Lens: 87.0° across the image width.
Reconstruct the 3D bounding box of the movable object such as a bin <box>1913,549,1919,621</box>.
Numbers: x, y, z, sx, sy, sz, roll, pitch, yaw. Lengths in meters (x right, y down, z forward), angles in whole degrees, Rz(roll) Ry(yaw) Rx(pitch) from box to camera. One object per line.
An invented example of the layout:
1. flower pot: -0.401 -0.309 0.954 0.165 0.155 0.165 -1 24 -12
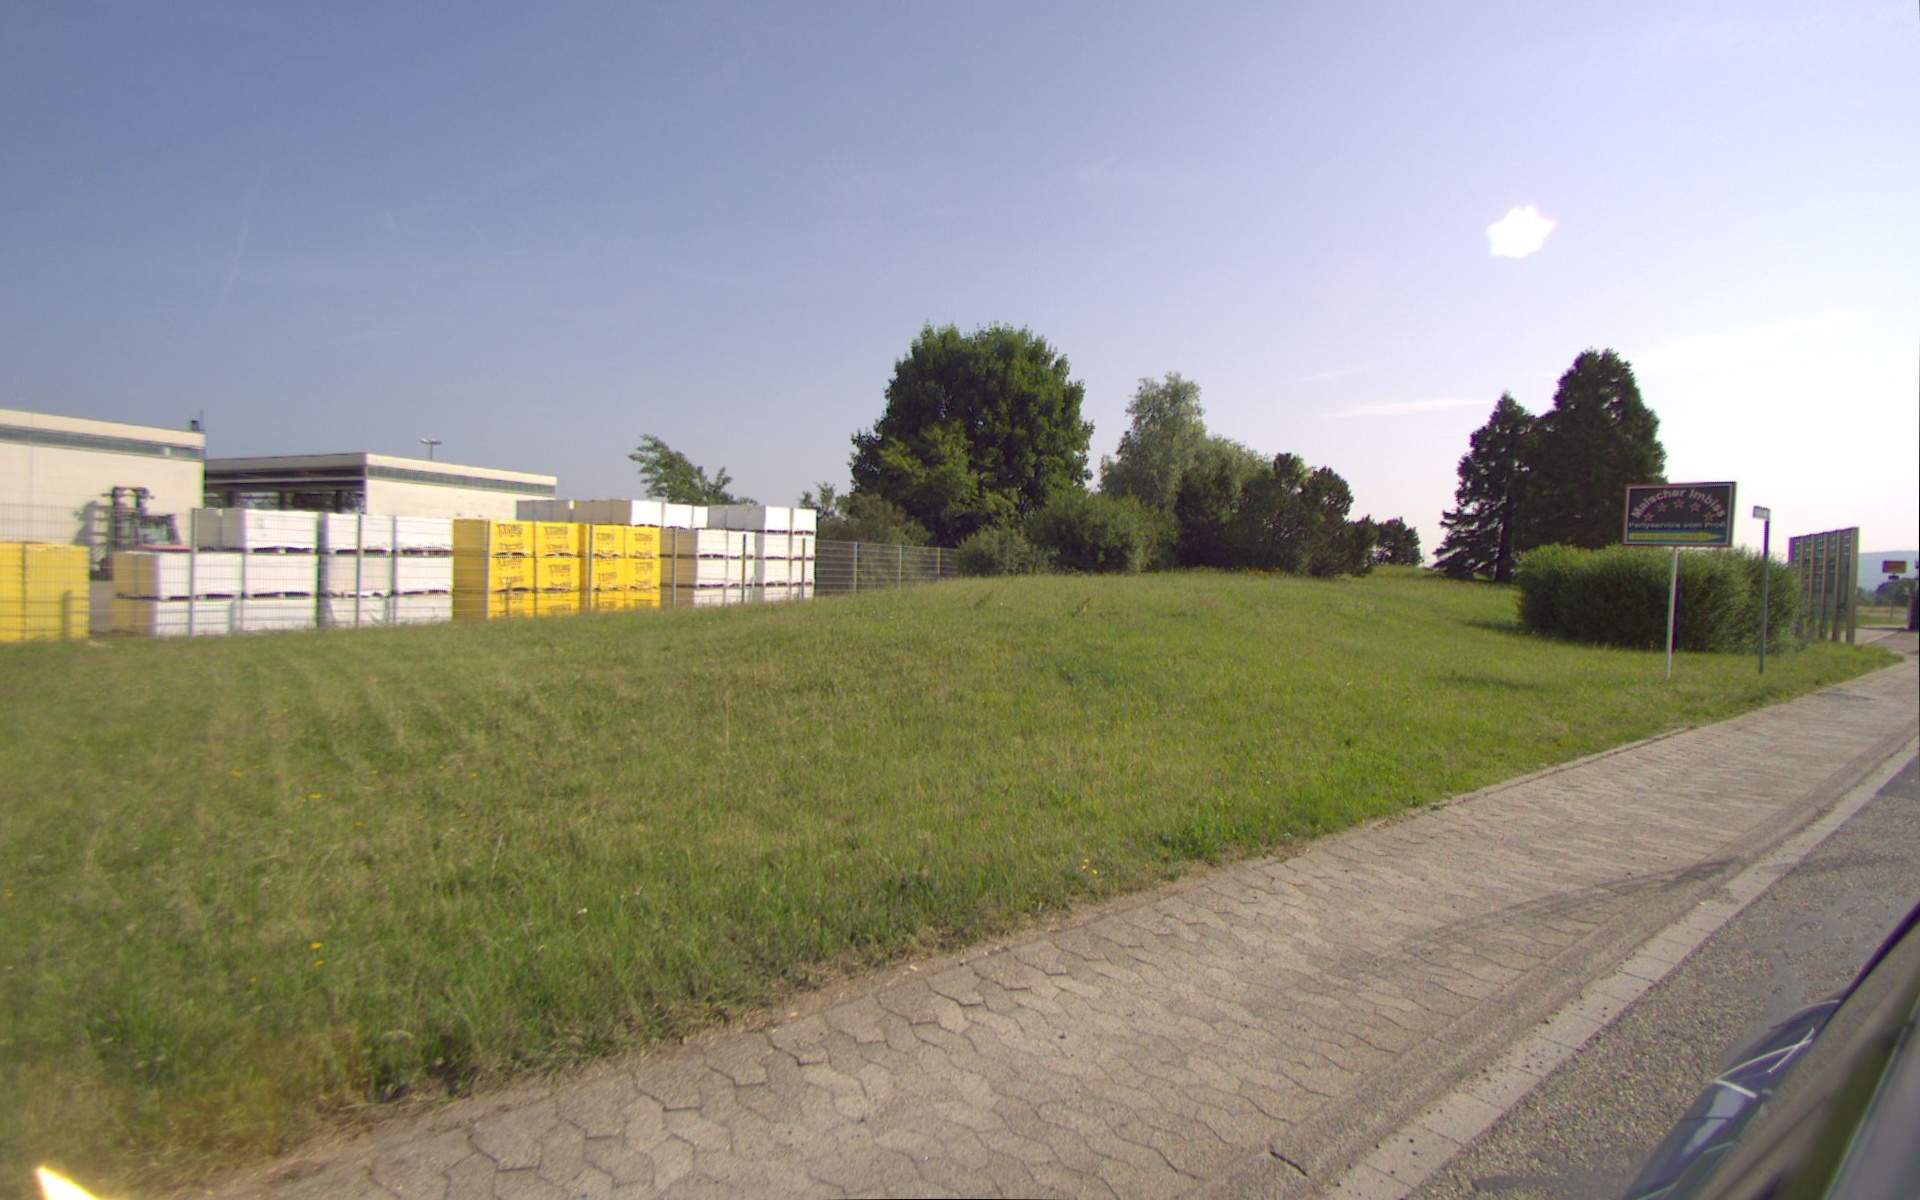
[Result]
1. movable object such as a bin: 41.776 -0.609 42.324 2.427 3.048 5.668 4 3 41
